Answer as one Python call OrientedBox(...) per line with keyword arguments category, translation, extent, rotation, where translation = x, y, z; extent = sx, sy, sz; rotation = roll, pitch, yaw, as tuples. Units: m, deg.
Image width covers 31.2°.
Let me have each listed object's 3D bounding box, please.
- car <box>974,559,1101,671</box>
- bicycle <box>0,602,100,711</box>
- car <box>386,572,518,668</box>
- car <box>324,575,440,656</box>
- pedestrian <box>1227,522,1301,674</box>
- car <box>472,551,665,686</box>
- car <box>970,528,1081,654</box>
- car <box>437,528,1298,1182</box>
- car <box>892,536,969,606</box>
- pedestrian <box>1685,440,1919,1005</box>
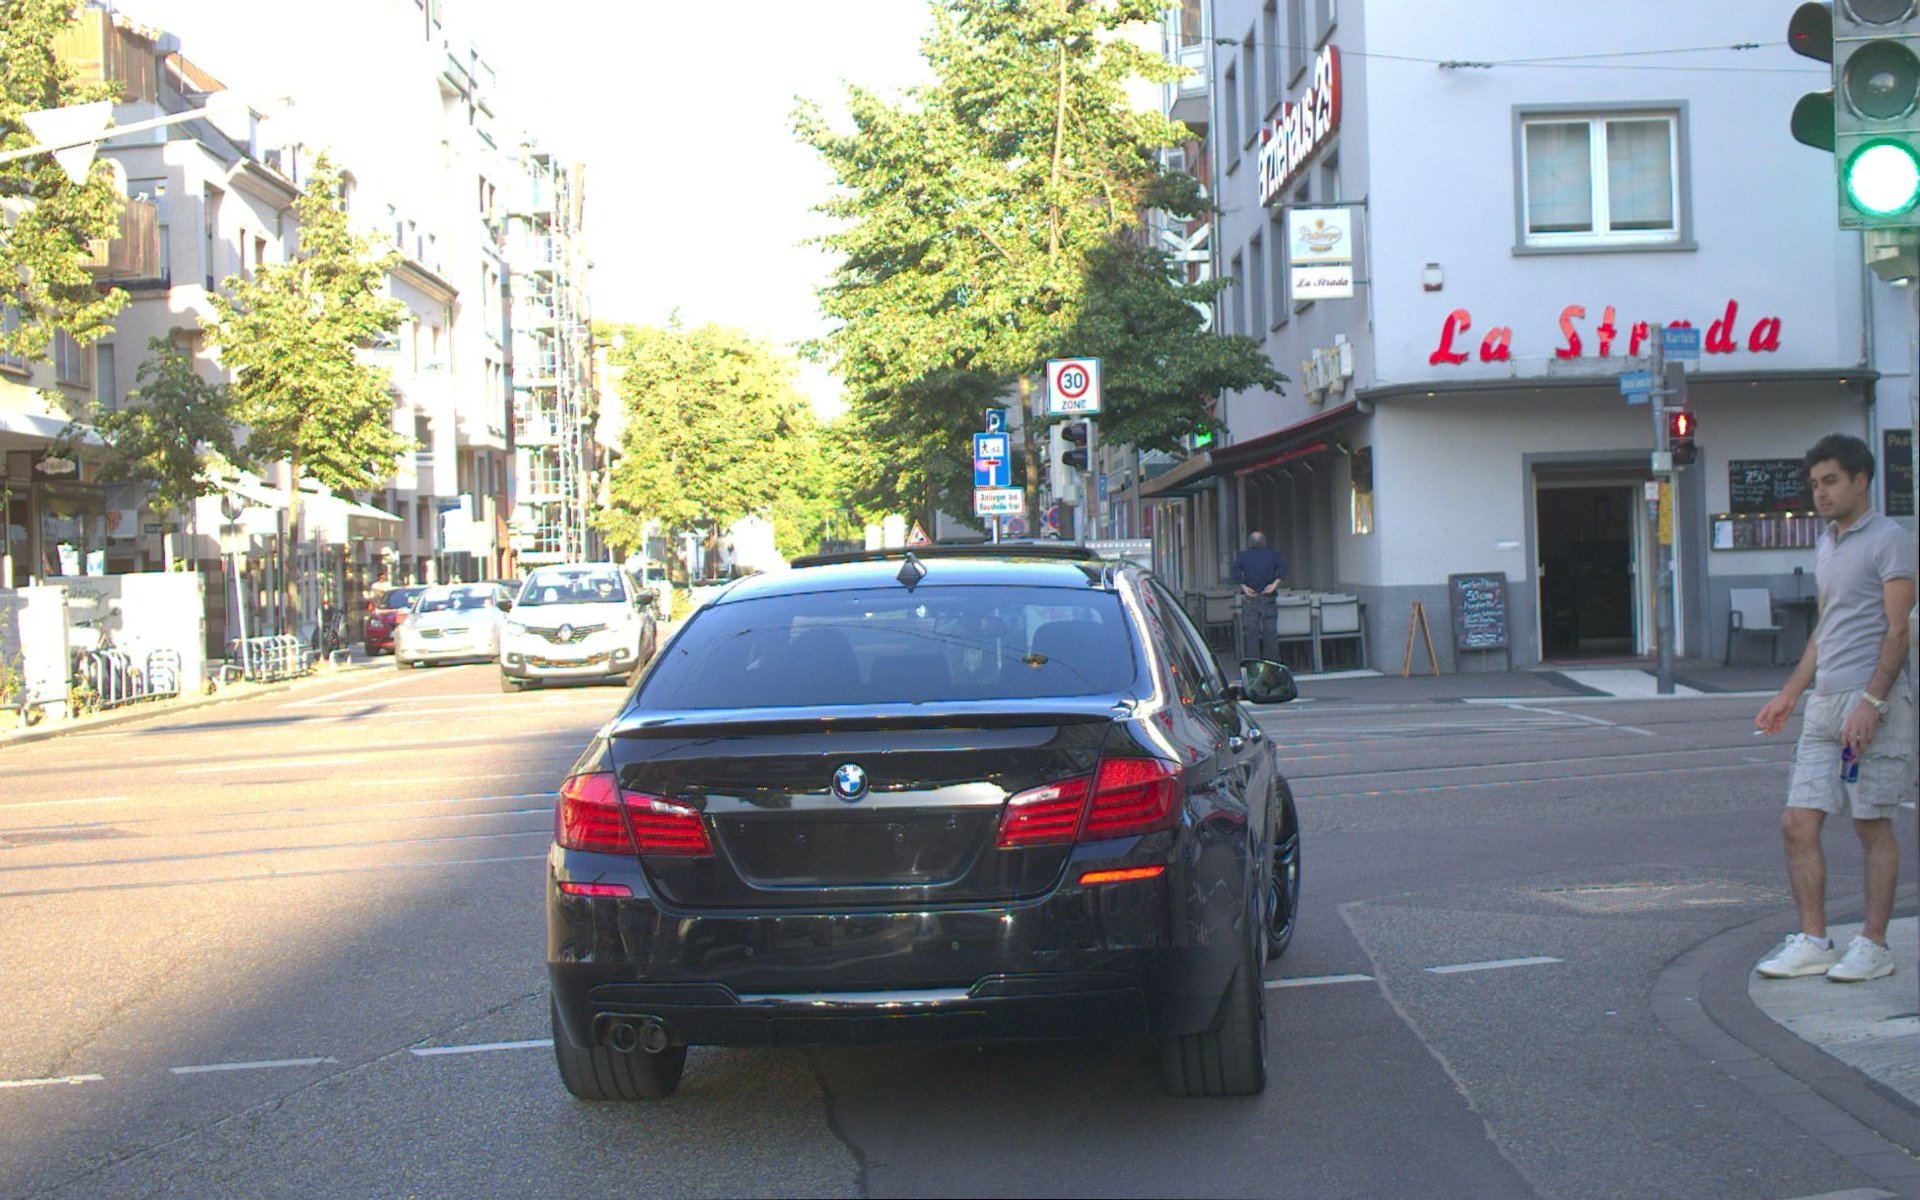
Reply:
OrientedBox(category="car", translation=(1.073, 0.181, 47.135), extent=(1.640, 1.439, 3.607), rotation=(-2, 1, 2))
OrientedBox(category="bicycle", translation=(-11.240, 0.654, 39.898), extent=(2.366, 1.248, 0.640), rotation=(0, 0, -5))
OrientedBox(category="car", translation=(-8.713, 0.324, 59.202), extent=(1.834, 1.551, 3.780), rotation=(-2, 0, -2))
OrientedBox(category="car", translation=(-11.979, 0.311, 71.444), extent=(1.834, 1.551, 3.780), rotation=(-3, 0, -2))
OrientedBox(category="pedestrian", translation=(3.417, -0.029, 38.657), extent=(0.711, 1.670, 0.703), rotation=(-2, 1, -1))
OrientedBox(category="car", translation=(-4.944, 0.231, 43.908), extent=(2.108, 1.551, 4.013), rotation=(-3, 0, -2))
OrientedBox(category="car", translation=(1.037, -0.179, 53.661), extent=(1.640, 1.867, 3.607), rotation=(1, 1, 2))
OrientedBox(category="car", translation=(-0.012, 0.581, 10.298), extent=(1.954, 1.493, 4.464), rotation=(-2, 1, 6))
OrientedBox(category="car", translation=(-0.756, -0.764, 90.174), extent=(1.851, 1.788, 4.000), rotation=(0, 0, 2))
OrientedBox(category="pedestrian", translation=(2.759, 0.376, 11.023), extent=(0.651, 1.736, 0.694), rotation=(-2, 0, -2))
